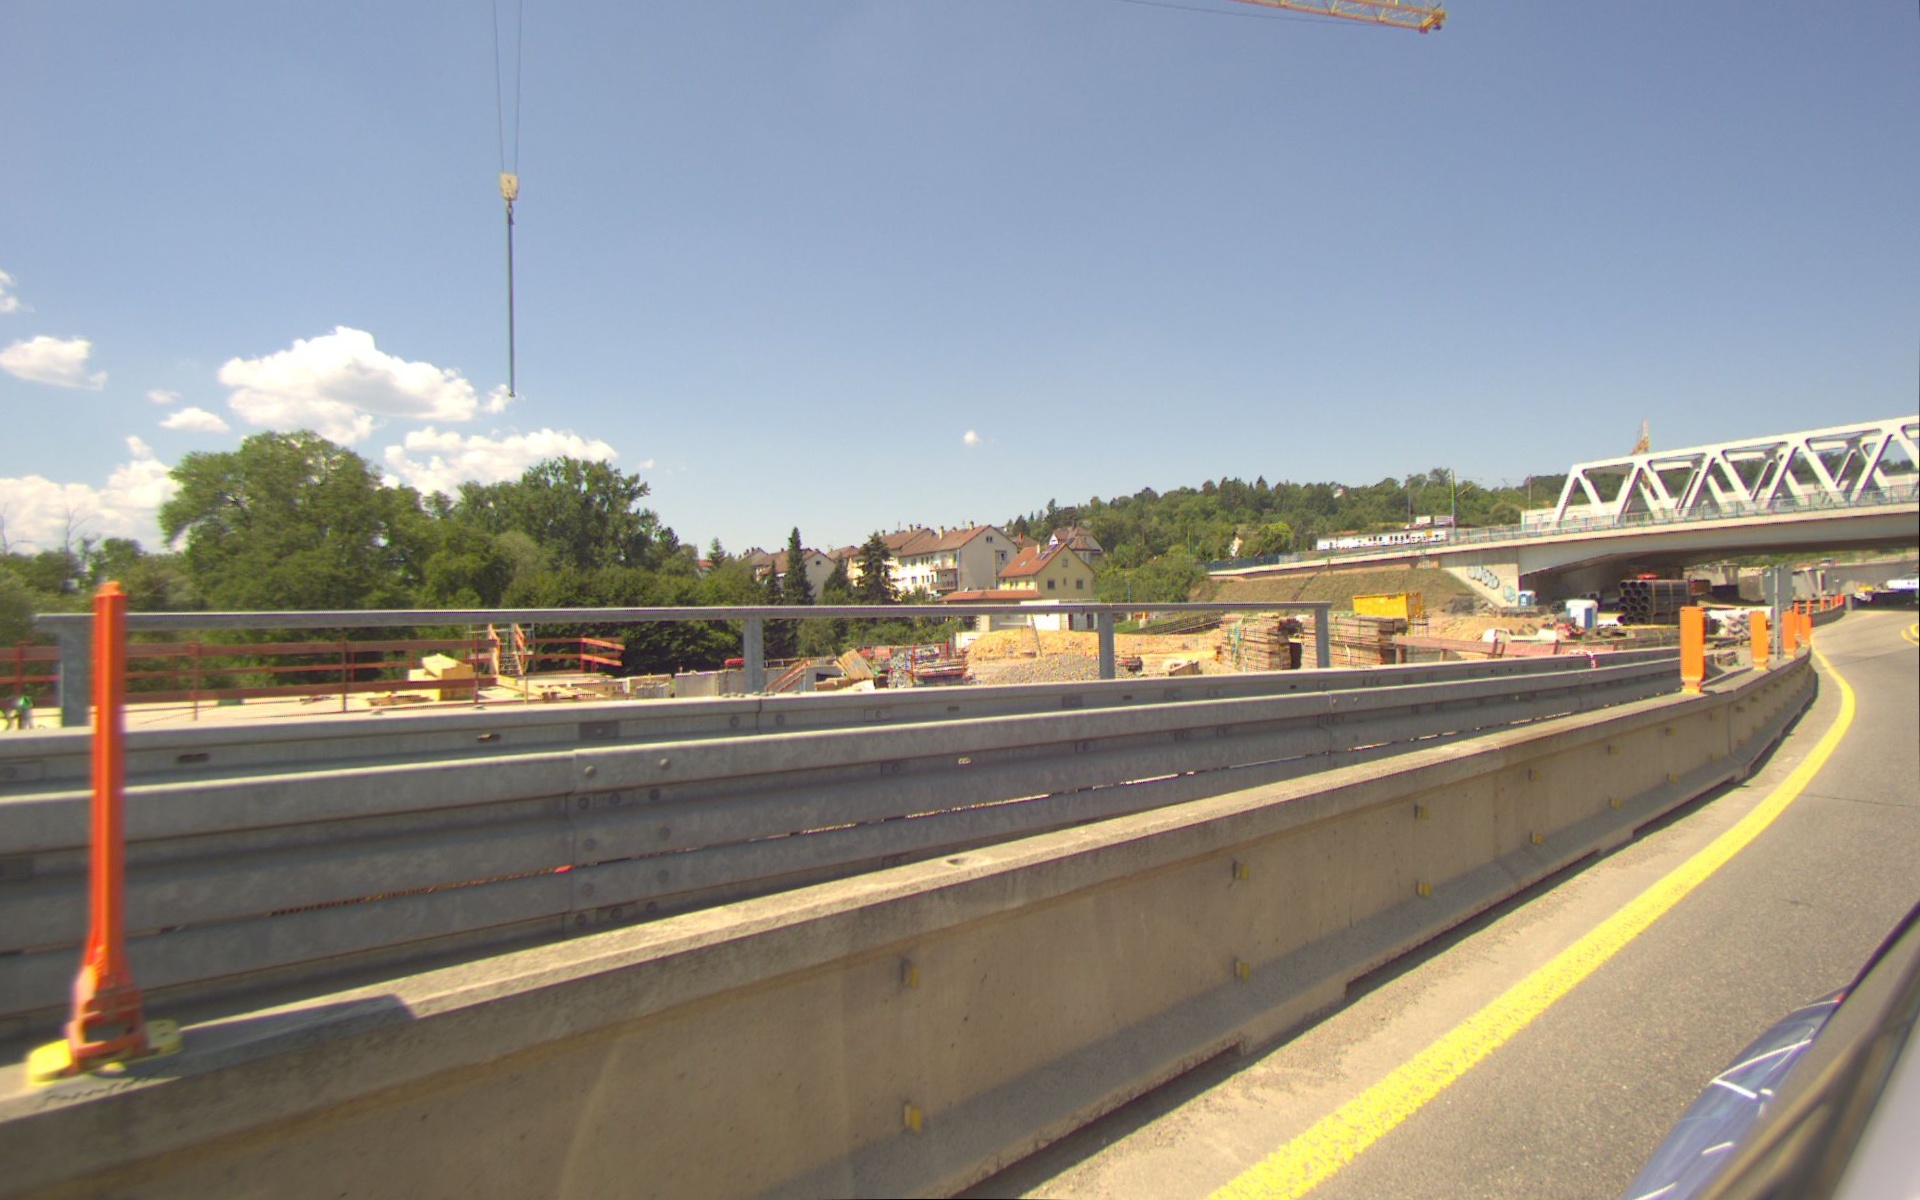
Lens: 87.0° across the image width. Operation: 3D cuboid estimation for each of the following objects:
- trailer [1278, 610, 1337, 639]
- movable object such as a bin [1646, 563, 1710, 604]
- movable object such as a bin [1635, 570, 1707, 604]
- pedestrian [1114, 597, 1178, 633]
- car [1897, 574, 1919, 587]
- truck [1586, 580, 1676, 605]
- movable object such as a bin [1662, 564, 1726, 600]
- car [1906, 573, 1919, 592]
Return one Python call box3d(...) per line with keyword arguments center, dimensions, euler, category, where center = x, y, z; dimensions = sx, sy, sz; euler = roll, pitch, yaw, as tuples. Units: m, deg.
box3d(center=(20.744, 1.473, 60.278), dimensions=(3.760, 1.505, 1.626), euler=(-3, 0, -41), category="trailer")
box3d(center=(68.920, -1.568, 97.186), dimensions=(2.845, 3.586, 3.899), euler=(-4, 1, -26), category="movable object such as a bin")
box3d(center=(71.011, -1.271, 101.139), dimensions=(2.449, 3.094, 5.257), euler=(-4, 1, -33), category="movable object such as a bin")
box3d(center=(12.256, 0.944, 66.573), dimensions=(3.930, 2.038, 1.998), euler=(-5, 2, -39), category="pedestrian")
box3d(center=(139.476, -2.918, 147.025), dimensions=(1.691, 1.791, 4.794), euler=(-3, -1, -42), category="car")
box3d(center=(63.465, -0.666, 95.854), dimensions=(2.615, 2.099, 6.543), euler=(-3, 0, -34), category="truck")
box3d(center=(76.559, -1.879, 105.598), dimensions=(2.934, 3.327, 4.569), euler=(-4, 1, -33), category="movable object such as a bin")
box3d(center=(145.249, -2.819, 150.483), dimensions=(6.275, 2.614, 2.026), euler=(-5, -2, 40), category="car")
